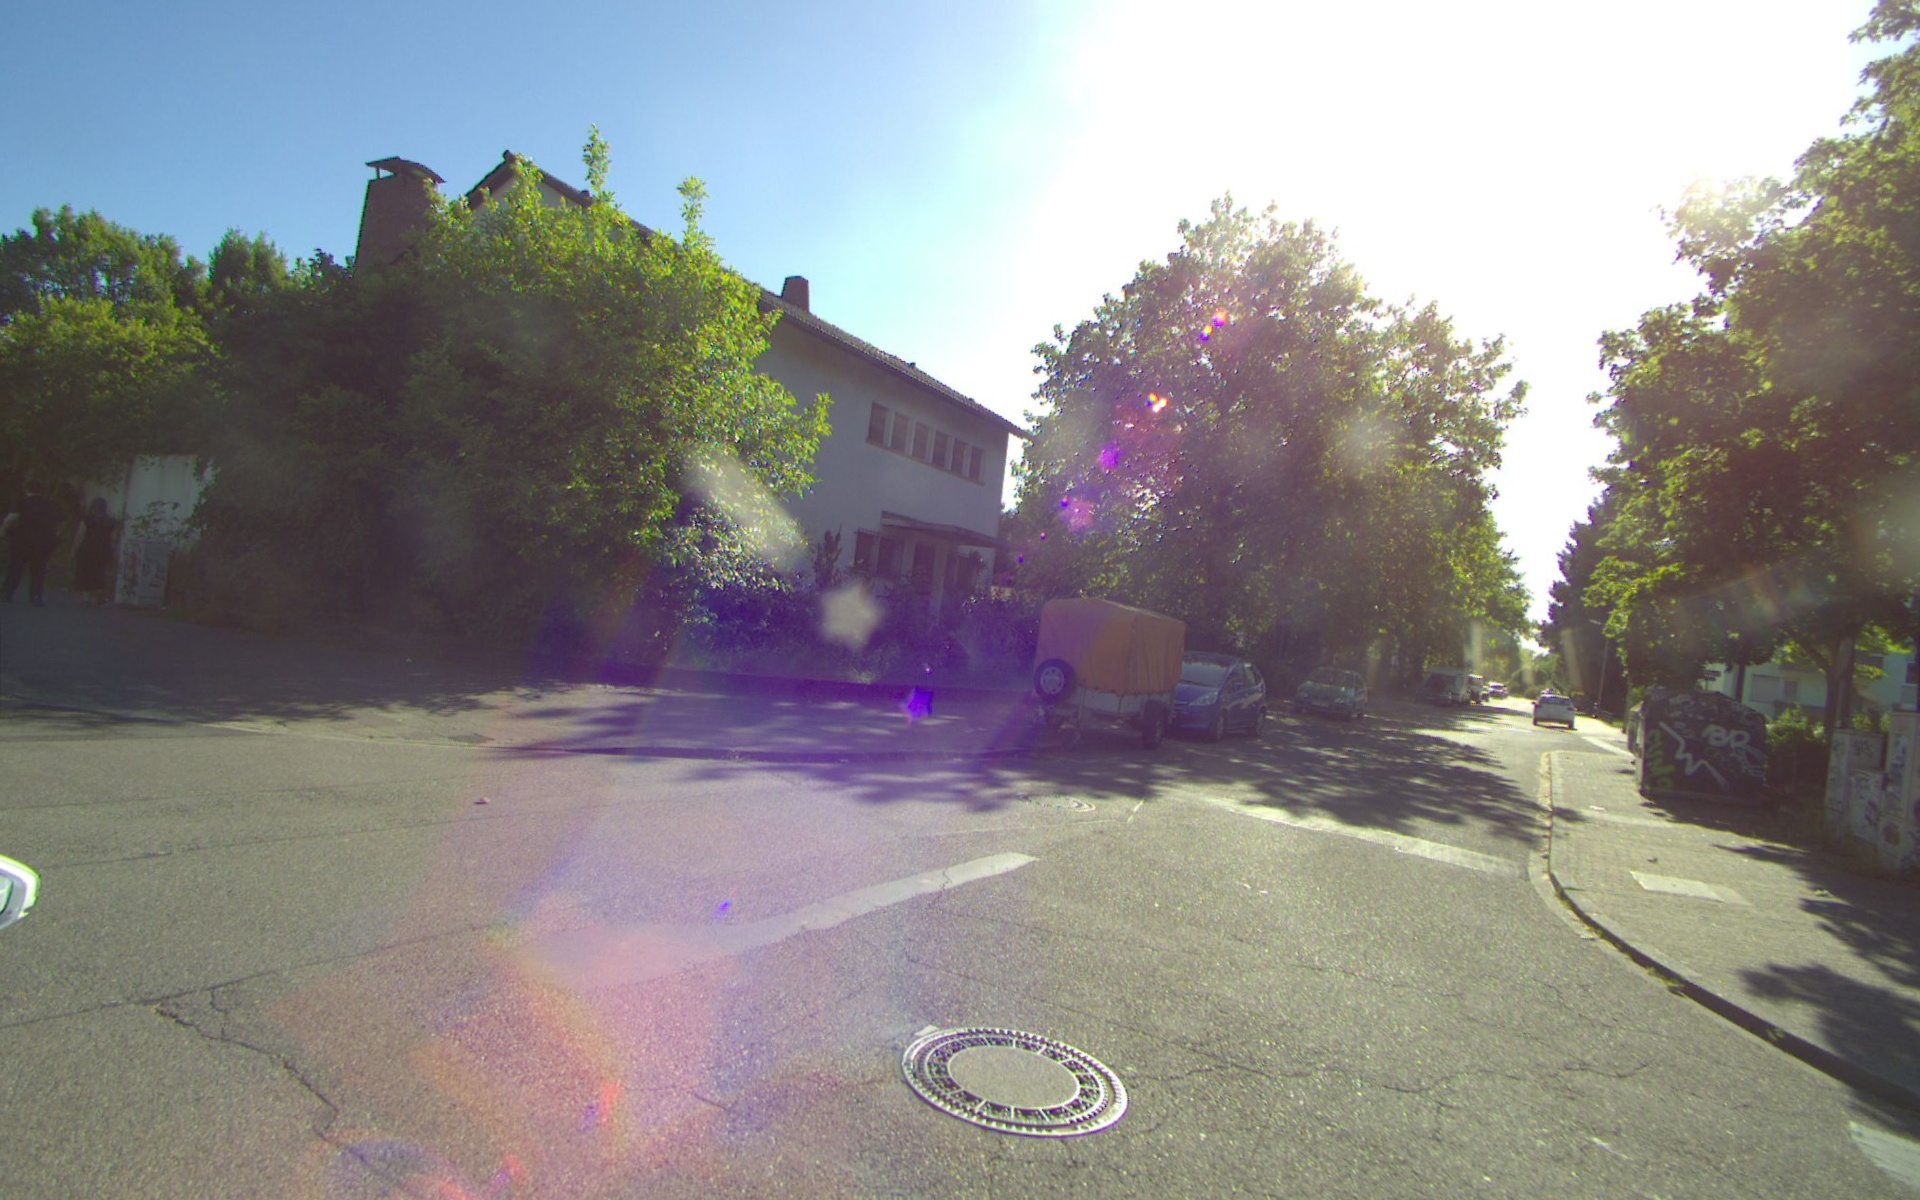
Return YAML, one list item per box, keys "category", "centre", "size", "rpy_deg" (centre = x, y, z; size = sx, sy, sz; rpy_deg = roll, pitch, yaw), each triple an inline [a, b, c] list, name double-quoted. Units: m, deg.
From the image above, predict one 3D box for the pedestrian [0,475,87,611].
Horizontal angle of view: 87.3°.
- category: "pedestrian"
  centre: [-12.682, -0.771, 13.705]
  size: [0.967, 1.739, 0.805]
  rpy_deg: [5, 1, 28]

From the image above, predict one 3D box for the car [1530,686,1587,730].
- category: "car"
  centre: [27.791, 4.975, 46.677]
  size: [2.033, 1.671, 3.992]
  rpy_deg: [7, -1, 32]

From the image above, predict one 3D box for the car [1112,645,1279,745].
- category: "car"
  centre: [4.611, 1.795, 19.296]
  size: [1.859, 1.530, 3.923]
  rpy_deg: [5, -2, 32]

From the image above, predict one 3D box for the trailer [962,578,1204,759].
- category: "trailer"
  centre: [1.999, 1.025, 15.188]
  size: [1.945, 2.145, 4.068]
  rpy_deg: [8, 0, 30]

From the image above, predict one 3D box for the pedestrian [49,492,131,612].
- category: "pedestrian"
  centre: [-12.500, -0.688, 14.460]
  size: [0.779, 1.630, 0.573]
  rpy_deg: [5, 1, 28]

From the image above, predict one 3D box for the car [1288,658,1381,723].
- category: "car"
  centre: [11.805, 2.833, 31.553]
  size: [1.843, 1.671, 3.992]
  rpy_deg: [7, -1, 32]
